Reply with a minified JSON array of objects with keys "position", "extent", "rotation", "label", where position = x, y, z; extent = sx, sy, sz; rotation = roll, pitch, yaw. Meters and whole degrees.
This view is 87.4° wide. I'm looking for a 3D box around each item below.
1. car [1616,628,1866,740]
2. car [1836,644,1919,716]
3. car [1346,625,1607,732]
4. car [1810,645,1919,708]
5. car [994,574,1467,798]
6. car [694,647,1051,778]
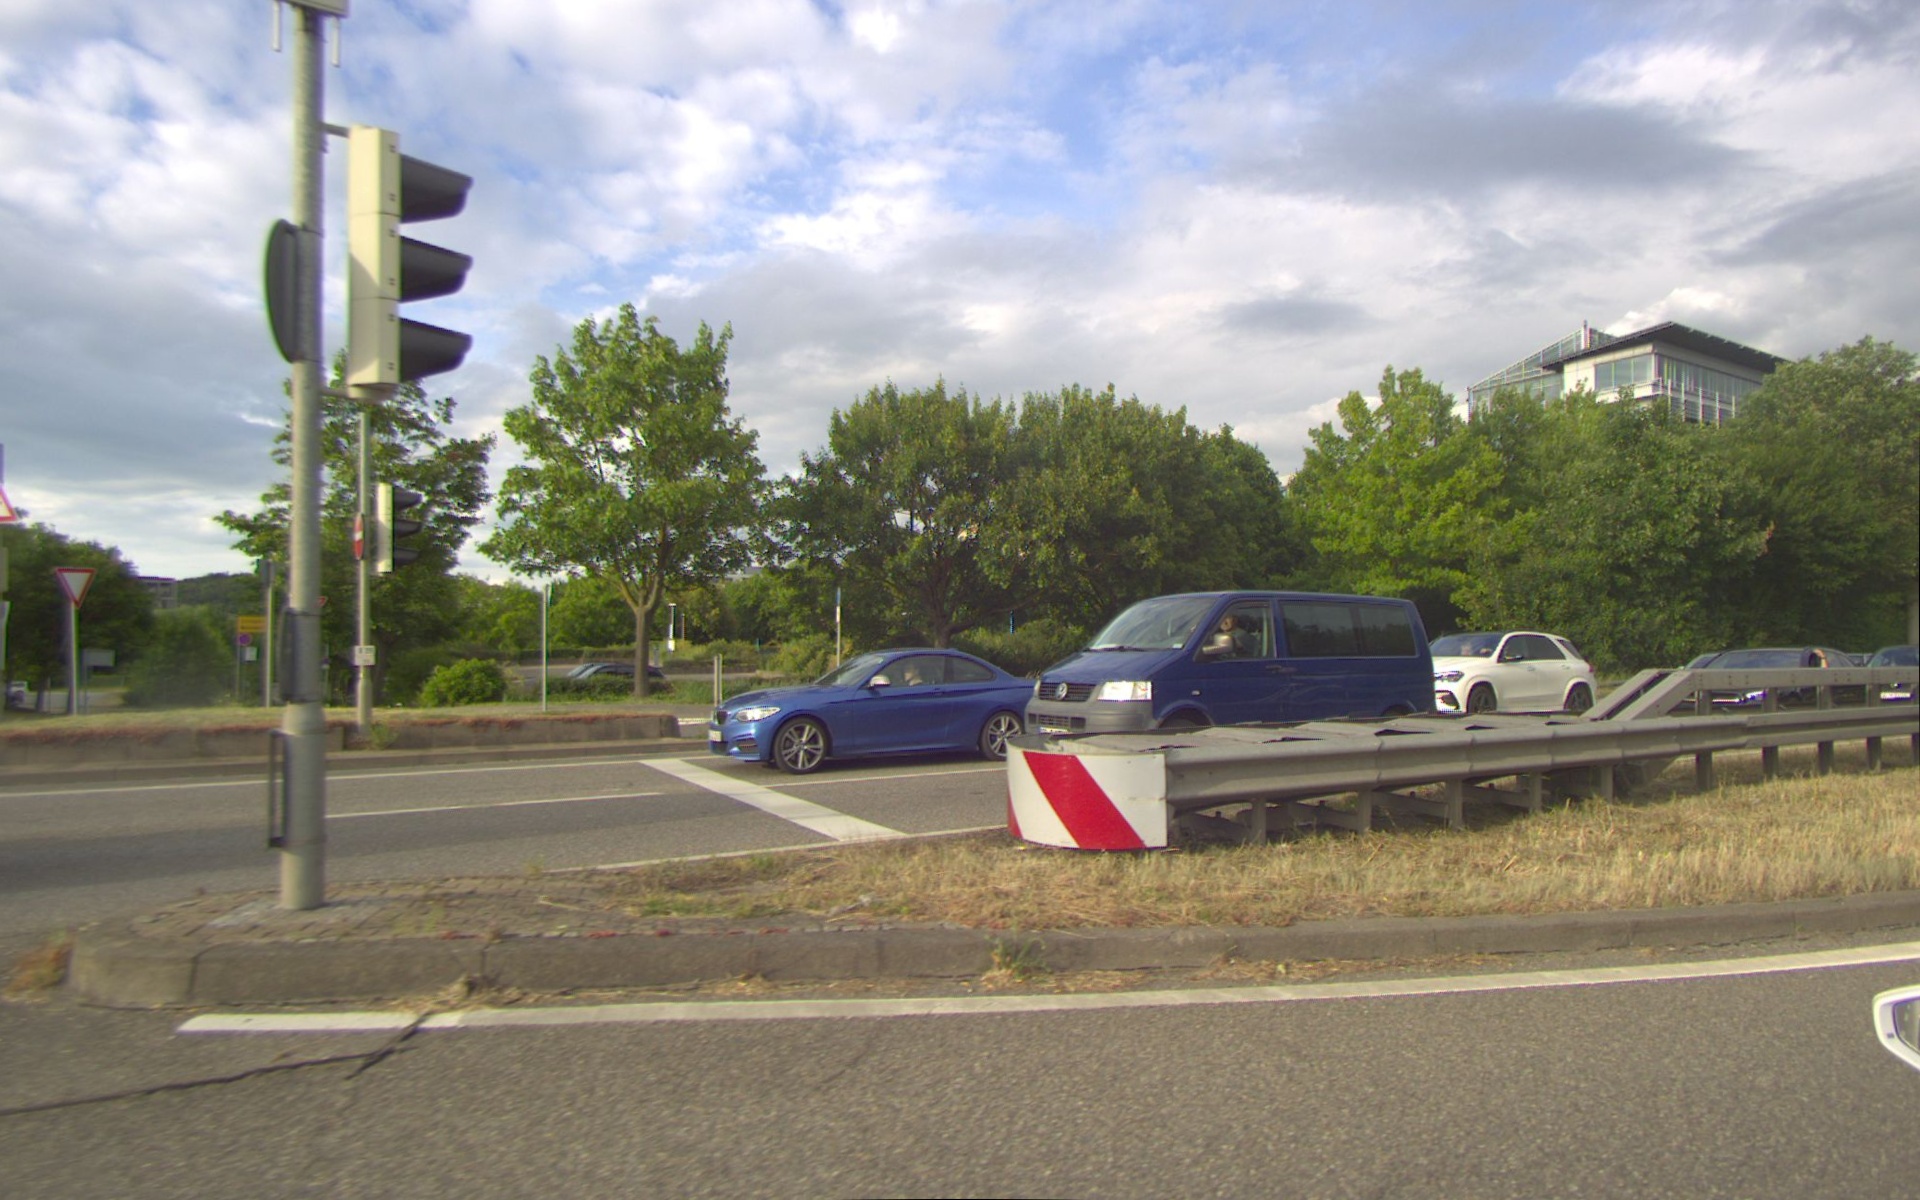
[{"position":[12.777,1.315,16.371],"extent":[4.502,1.609,1.704],"rotation":[2,-4,-31],"label":"car"},{"position":[20.282,1.651,21.345],"extent":[3.423,1.378,1.548],"rotation":[1,-2,-31],"label":"car"},{"position":[9.650,1.416,18.705],"extent":[4.787,1.772,2.025],"rotation":[2,-4,-30],"label":"car"},{"position":[25.301,2.044,27.431],"extent":[4.345,1.556,1.826],"rotation":[2,-2,-30],"label":"car"},{"position":[2.982,0.885,10.794],"extent":[4.990,1.941,1.891],"rotation":[2,-5,-30],"label":"car"},{"position":[-1.033,1.308,12.513],"extent":[4.135,1.406,1.641],"rotation":[2,-4,-29],"label":"car"}]
